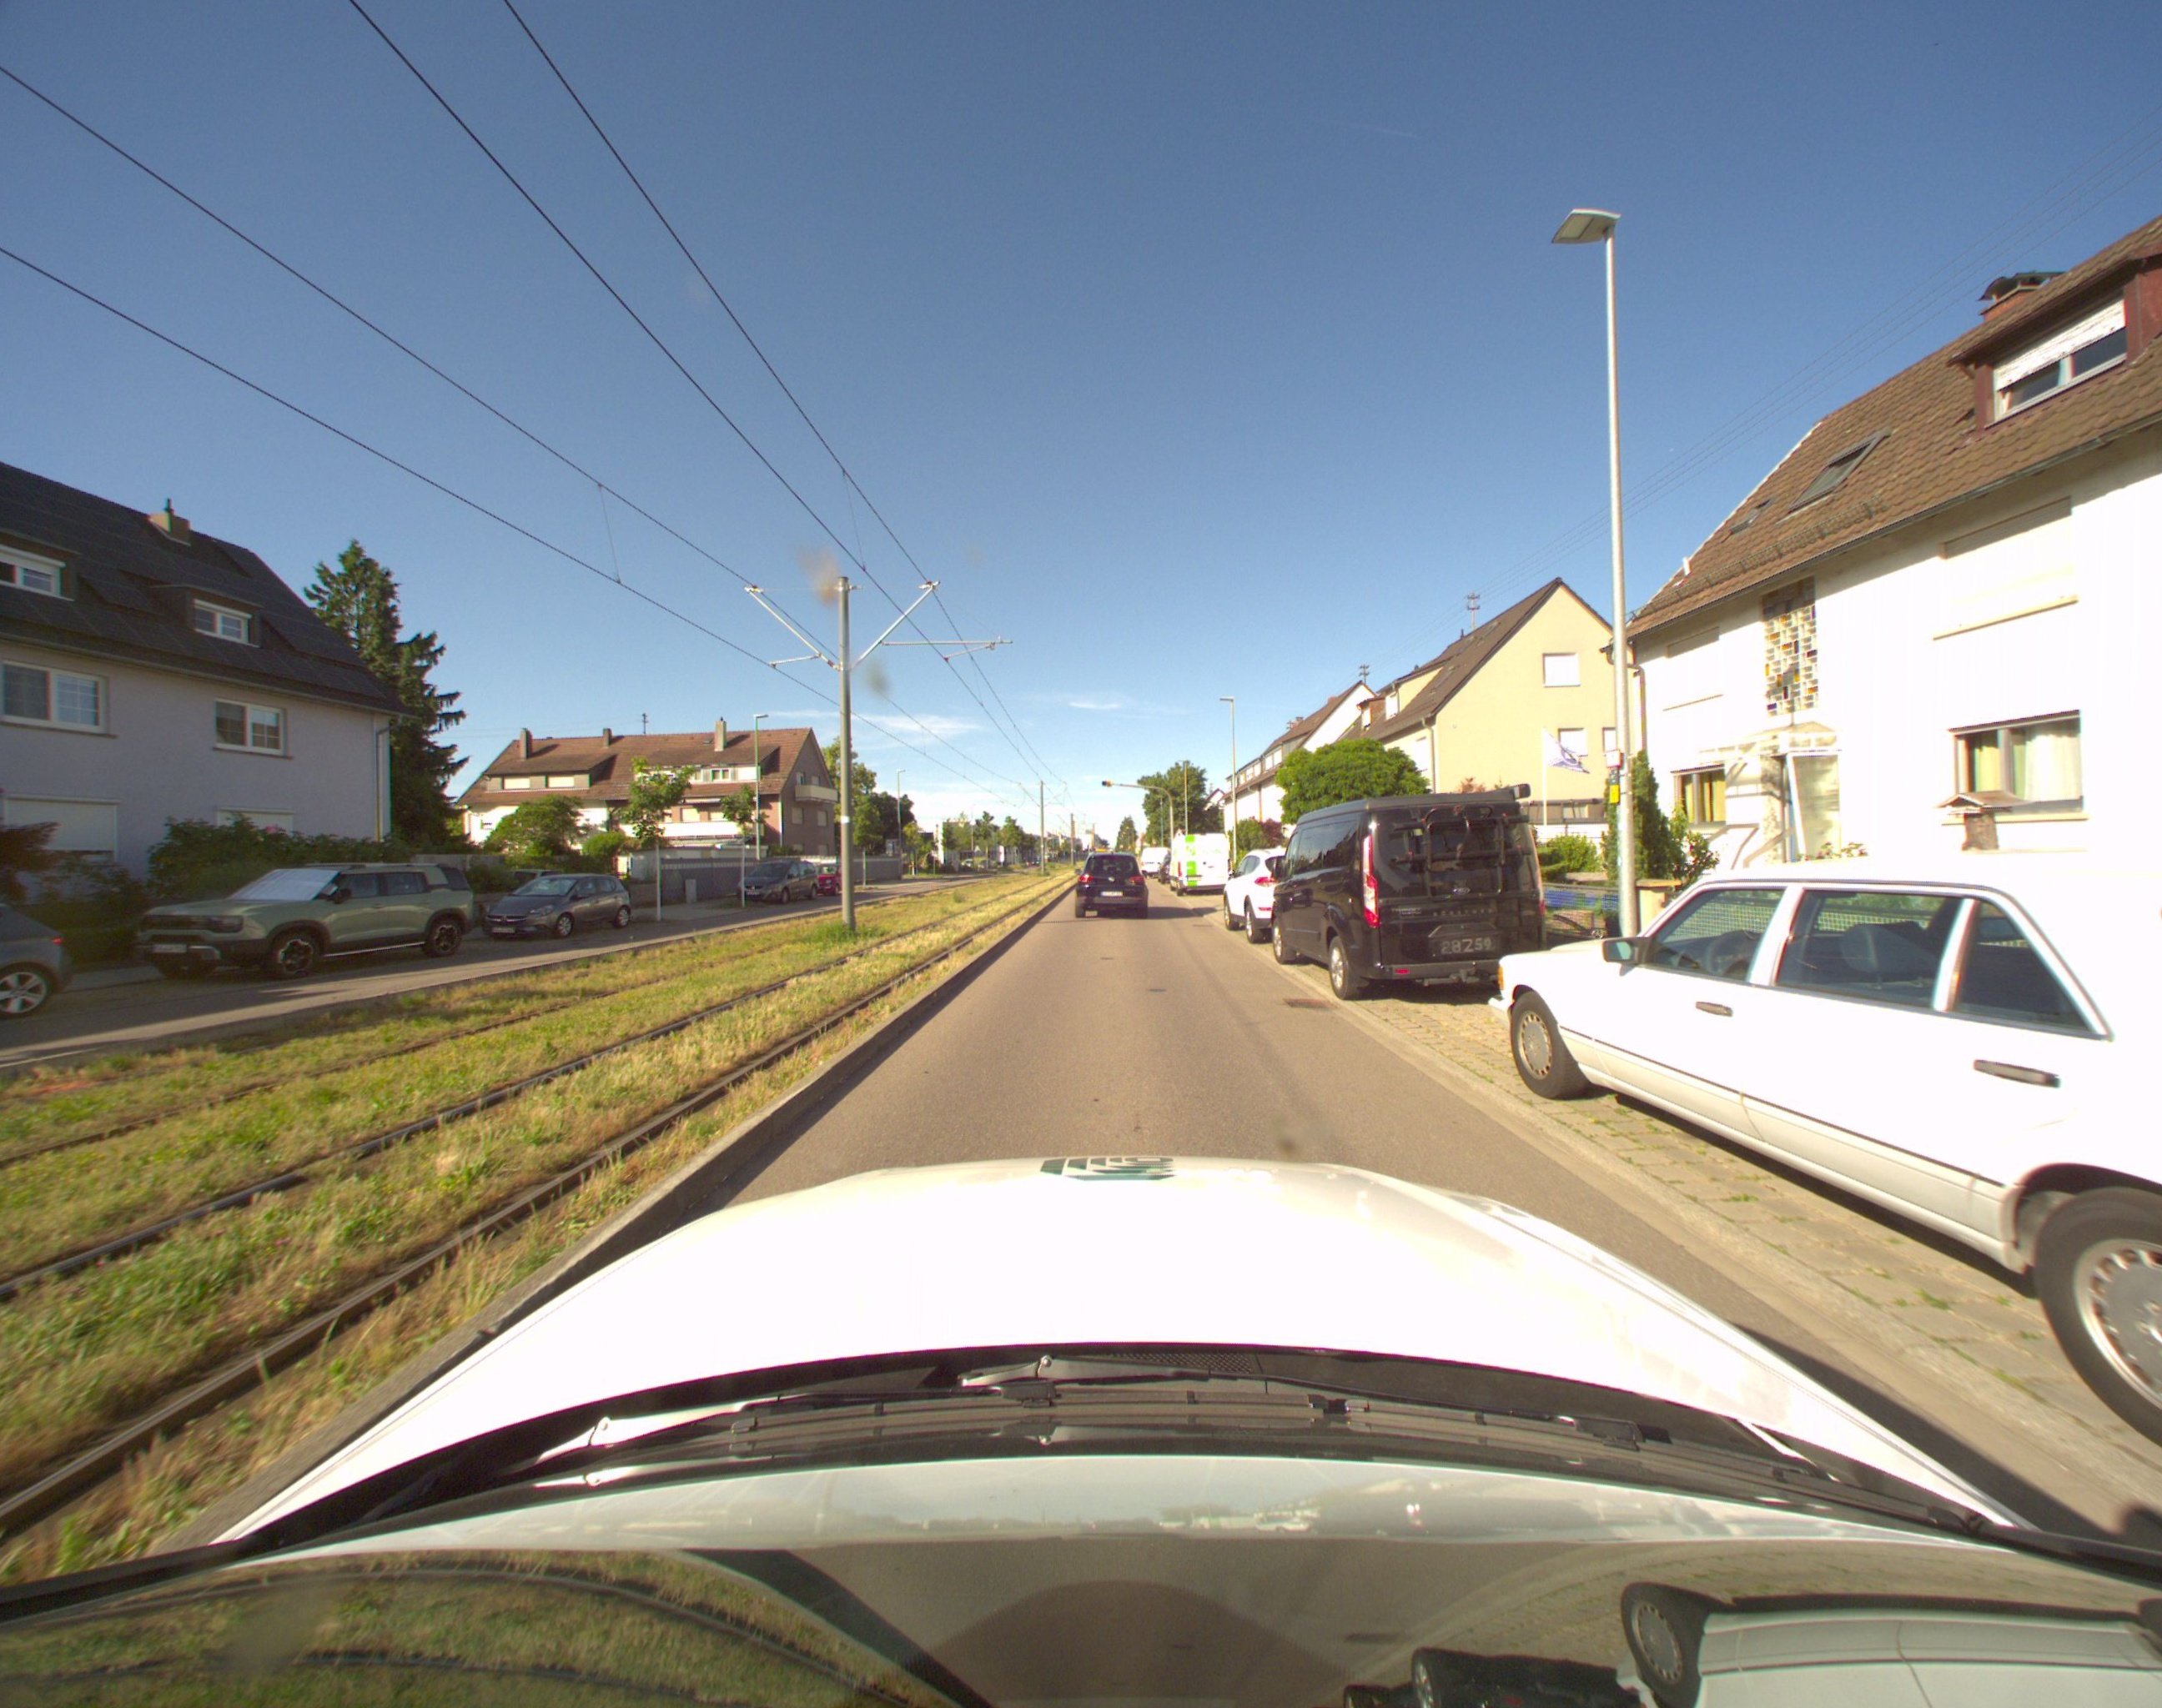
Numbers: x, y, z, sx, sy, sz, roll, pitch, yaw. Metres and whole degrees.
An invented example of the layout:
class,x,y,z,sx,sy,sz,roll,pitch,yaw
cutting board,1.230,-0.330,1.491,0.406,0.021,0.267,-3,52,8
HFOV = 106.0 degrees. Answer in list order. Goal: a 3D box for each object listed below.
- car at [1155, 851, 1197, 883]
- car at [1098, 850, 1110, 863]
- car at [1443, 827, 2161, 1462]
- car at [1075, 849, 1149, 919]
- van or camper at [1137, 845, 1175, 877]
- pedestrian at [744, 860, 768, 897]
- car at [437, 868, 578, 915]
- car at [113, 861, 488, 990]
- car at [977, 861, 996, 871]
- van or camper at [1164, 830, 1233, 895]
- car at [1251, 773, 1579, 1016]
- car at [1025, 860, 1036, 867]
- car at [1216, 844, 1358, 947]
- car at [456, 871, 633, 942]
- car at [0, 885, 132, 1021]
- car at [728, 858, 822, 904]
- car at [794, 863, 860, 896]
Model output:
class,x,y,z,sx,sy,sz,roll,pitch,yaw
car,4.958,0.672,42.989,1.742,1.494,5.158,-3,-1,2
car,4.840,0.563,168.802,2.385,2.564,5.533,-1,0,3
car,3.523,0.666,3.260,1.845,1.443,5.618,-3,0,3
car,0.756,0.740,21.598,1.770,1.670,3.999,0,0,0
van or camper,4.991,0.412,53.457,2.015,1.956,5.310,-2,0,10
pedestrian,-14.759,1.093,36.994,0.693,1.640,0.920,0,-1,0
car,-19.464,1.246,27.714,3.597,1.473,1.707,-1,-1,3
car,-13.083,1.055,14.226,1.738,1.823,4.844,0,0,2
car,-13.812,1.748,119.146,1.801,1.461,4.325,0,0,6
van or camper,4.560,0.325,32.598,1.986,2.271,6.308,-3,-1,2
car,3.615,0.387,10.128,1.952,2.144,5.337,-2,0,2
car,-11.061,1.993,178.290,1.681,1.389,4.392,-3,-1,4
car,3.791,0.709,15.736,1.719,1.645,4.320,-2,0,2
car,-12.972,1.213,20.030,1.671,1.491,4.049,0,0,0
car,-13.517,1.160,8.419,1.953,1.540,4.558,0,0,2
car,-12.352,1.033,33.219,1.812,1.684,4.849,0,0,2
car,-12.176,1.199,39.232,1.688,1.405,4.081,-2,0,3
